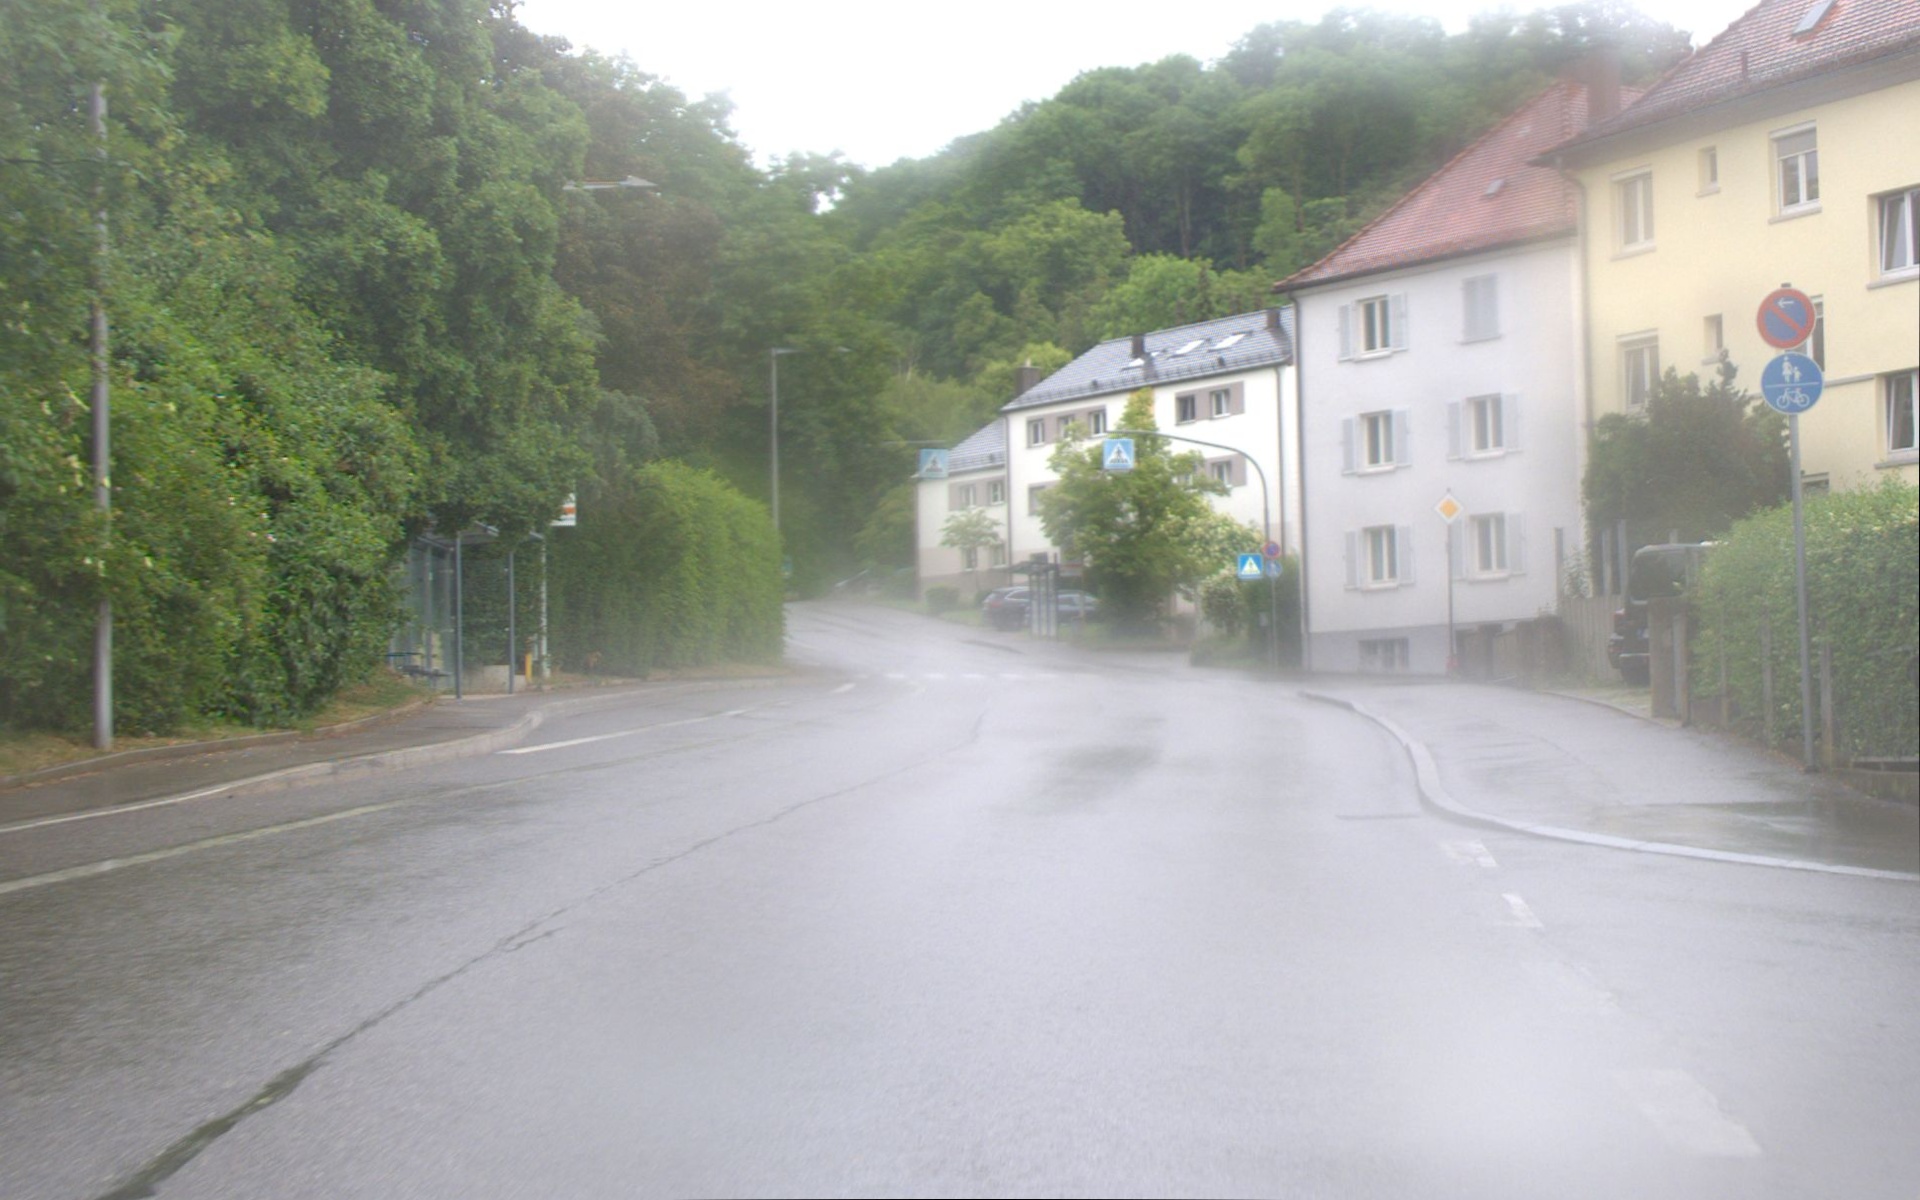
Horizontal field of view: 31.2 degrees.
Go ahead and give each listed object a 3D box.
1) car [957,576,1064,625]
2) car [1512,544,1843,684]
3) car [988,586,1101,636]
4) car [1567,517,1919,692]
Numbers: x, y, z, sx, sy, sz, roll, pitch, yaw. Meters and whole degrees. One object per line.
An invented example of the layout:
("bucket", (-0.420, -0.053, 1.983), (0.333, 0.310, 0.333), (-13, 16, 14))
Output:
("car", (1.989, 0.036, 136.630), (3.986, 1.766, 2.000), (2, -2, -6))
("car", (9.904, 0.223, 47.552), (3.985, 1.766, 2.000), (2, -2, -15))
("car", (3.198, 0.429, 130.175), (3.986, 1.766, 2.000), (2, -2, -6))
("car", (9.822, 0.091, 42.724), (3.985, 2.007, 2.000), (2, -2, -15))
